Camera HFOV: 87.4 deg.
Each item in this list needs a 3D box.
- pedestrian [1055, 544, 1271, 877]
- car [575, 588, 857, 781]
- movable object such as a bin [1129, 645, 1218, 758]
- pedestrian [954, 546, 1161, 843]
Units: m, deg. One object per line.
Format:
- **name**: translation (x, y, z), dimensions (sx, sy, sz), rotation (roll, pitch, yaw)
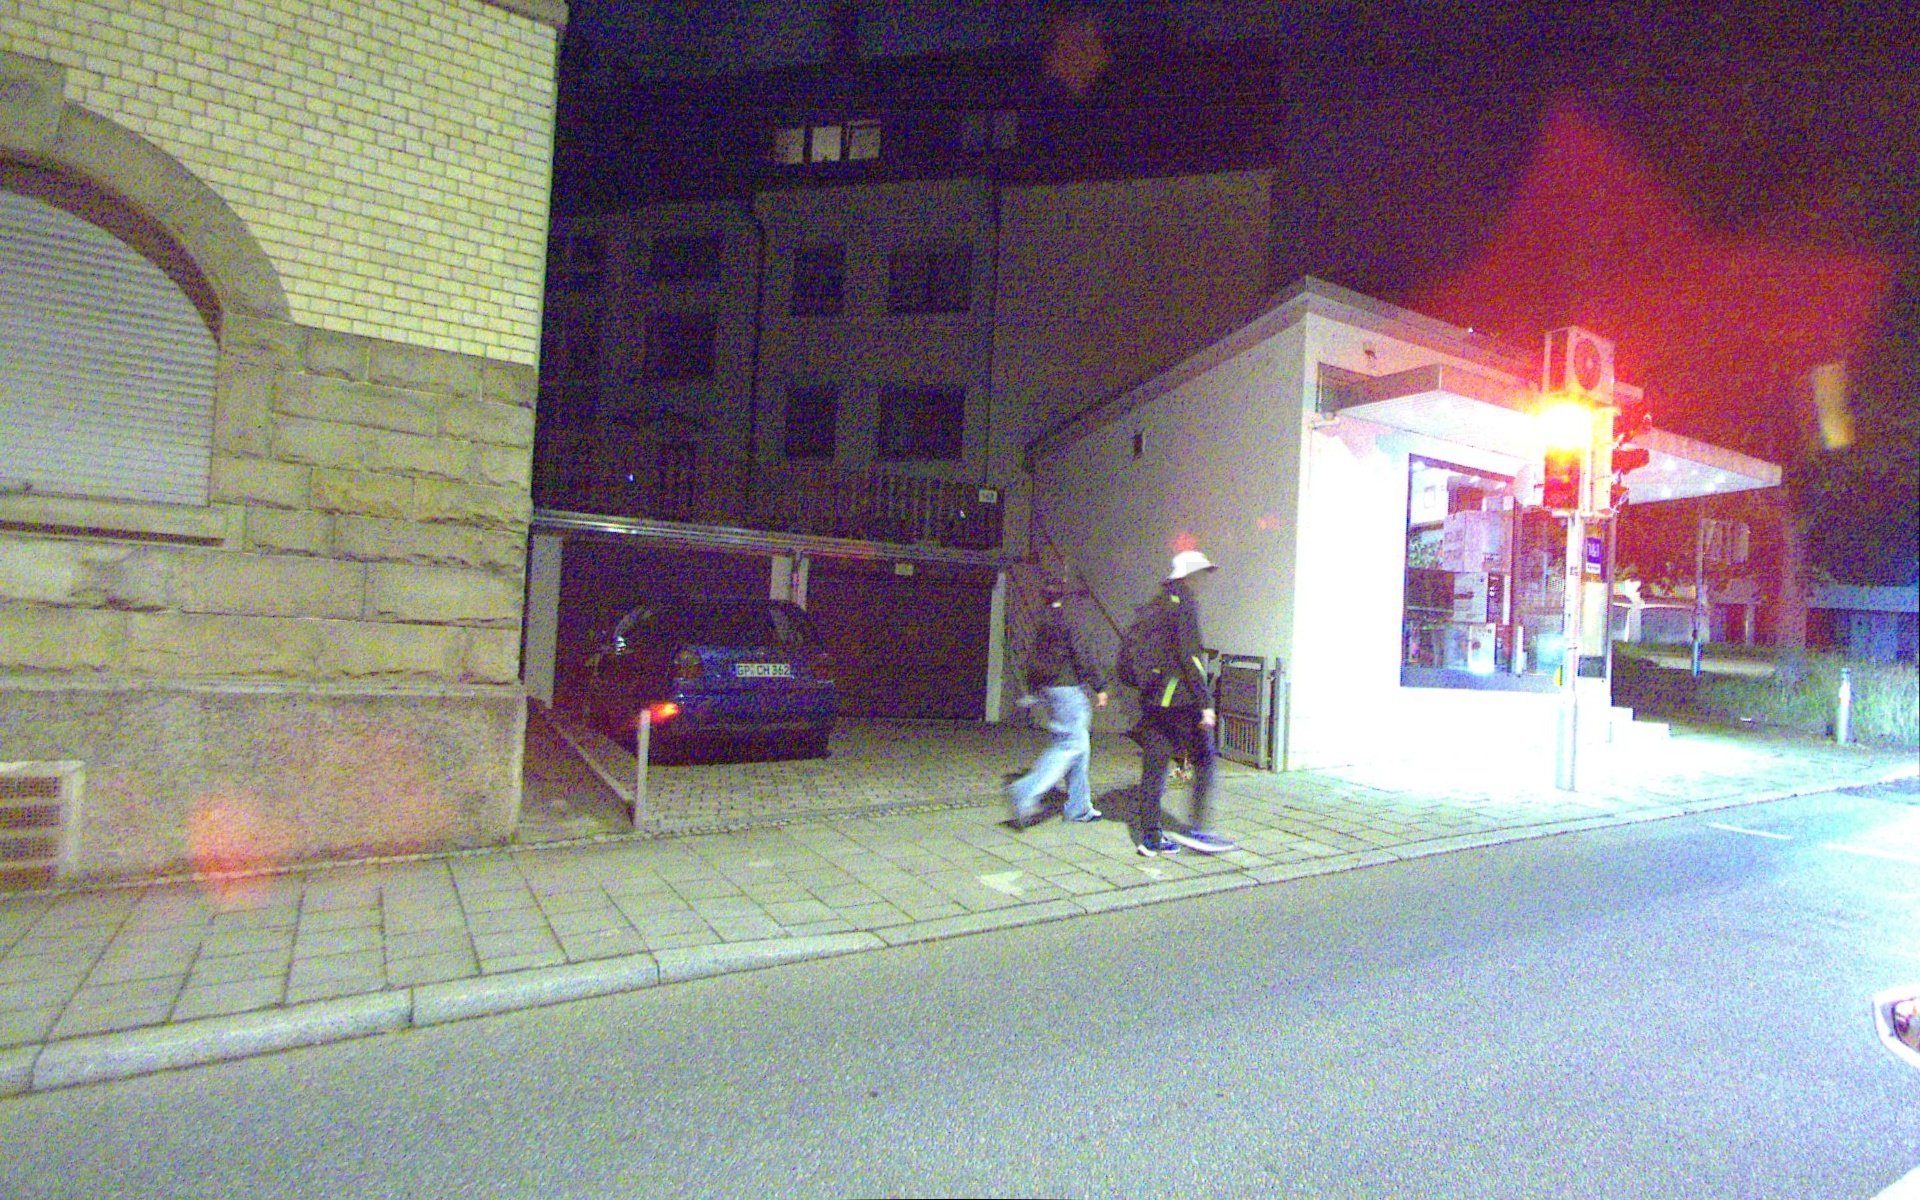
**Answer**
- **pedestrian**: translation (1.190, 0.600, 5.895), dimensions (1.017, 1.768, 0.672), rotation (2, 0, -31)
- **car**: translation (-2.446, 0.654, 9.501), dimensions (1.655, 1.470, 3.341), rotation (2, -1, -31)
- **movable object such as a bin**: translation (2.123, 1.001, 10.031), dimensions (0.643, 1.063, 0.639), rotation (2, 0, -12)
- **pedestrian**: translation (0.636, 0.578, 6.598), dimensions (1.091, 1.768, 0.738), rotation (2, 0, -31)
